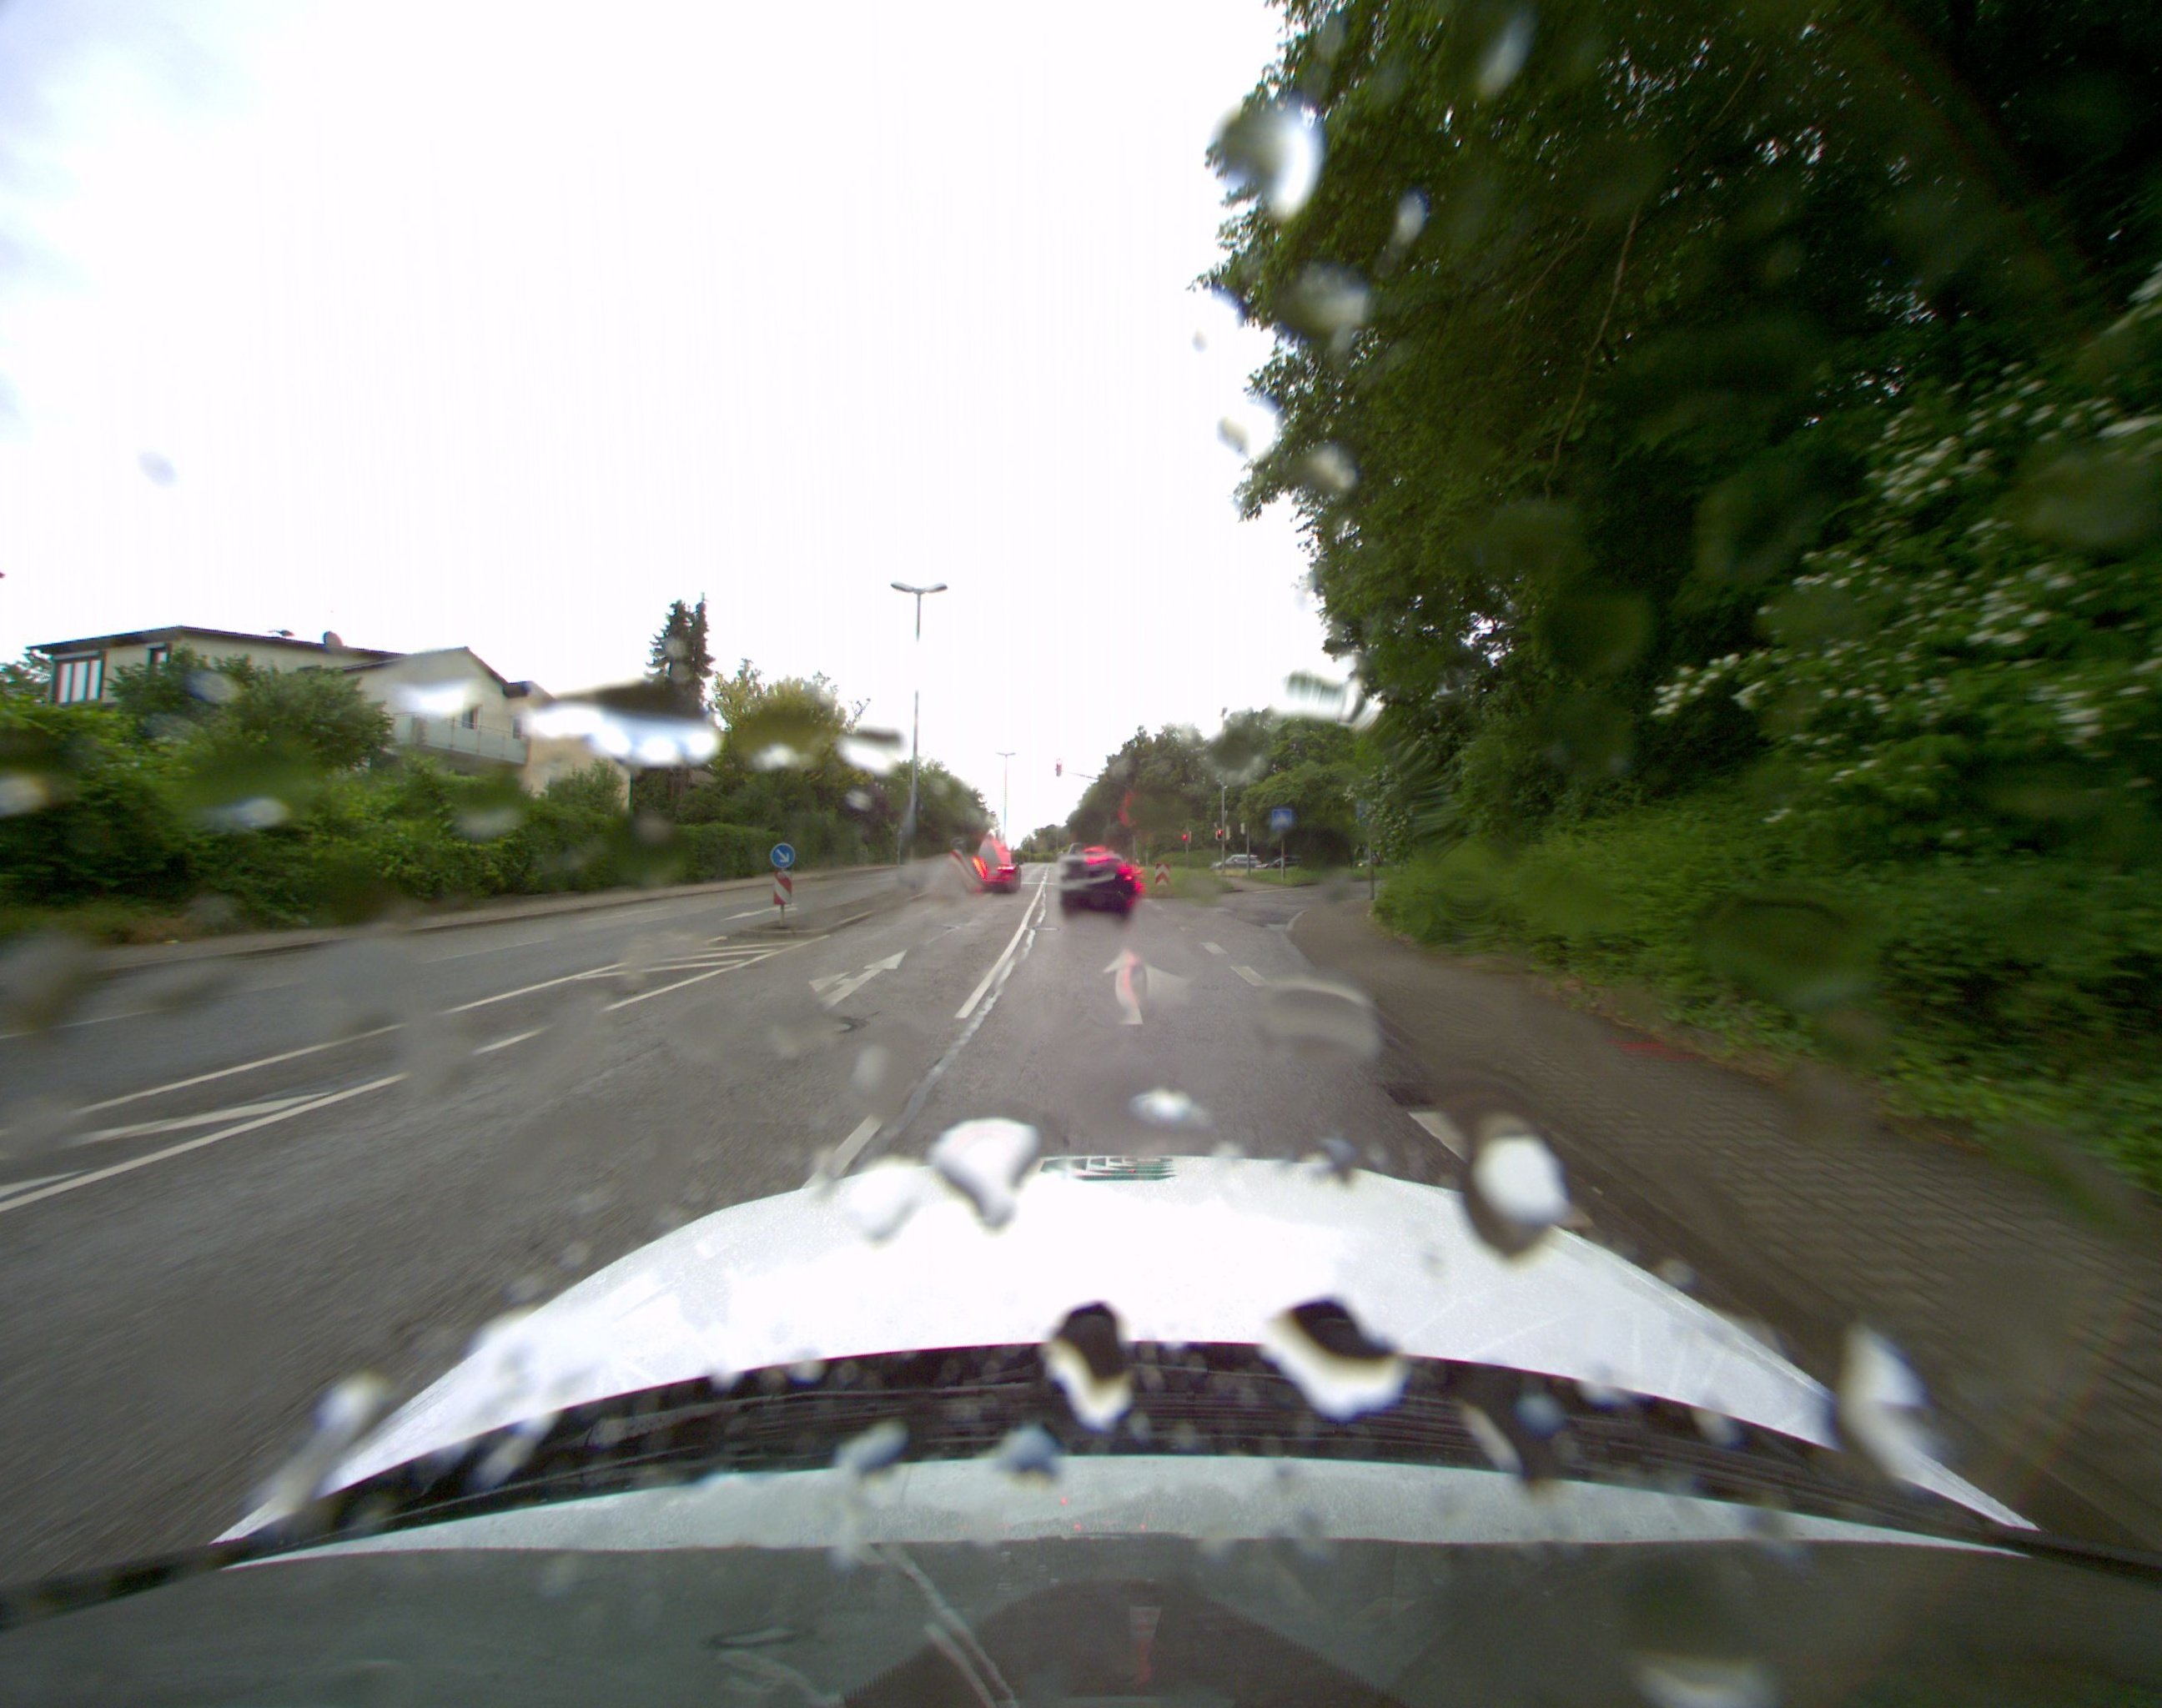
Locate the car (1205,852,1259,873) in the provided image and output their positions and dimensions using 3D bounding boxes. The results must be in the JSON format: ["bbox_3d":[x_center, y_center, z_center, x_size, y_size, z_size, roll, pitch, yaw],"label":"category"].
[{"bbox_3d":[10.990,0.628,59.527,3.499,1.427,1.699,-2,-2,-7],"label":"car"}]

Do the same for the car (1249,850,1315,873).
[{"bbox_3d":[13.860,0.476,56.227,3.984,1.509,1.897,-1,0,-8],"label":"car"}]

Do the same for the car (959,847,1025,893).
[{"bbox_3d":[-3.211,0.554,30.212,1.987,1.527,4.326,-1,0,0],"label":"car"}]

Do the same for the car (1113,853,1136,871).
[{"bbox_3d":[3.848,0.689,72.463,1.867,1.543,3.951,-1,0,0],"label":"car"}]

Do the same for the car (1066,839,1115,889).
[{"bbox_3d":[0.357,0.384,33.328,1.812,1.868,3.951,1,0,0],"label":"car"}]

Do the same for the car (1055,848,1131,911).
[{"bbox_3d":[0.408,0.689,23.012,1.890,1.551,4.618,1,-1,3],"label":"car"}]

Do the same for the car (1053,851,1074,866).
[{"bbox_3d":[-1.997,0.536,92.264,1.991,1.624,3.944,-1,0,-6],"label":"car"}]
